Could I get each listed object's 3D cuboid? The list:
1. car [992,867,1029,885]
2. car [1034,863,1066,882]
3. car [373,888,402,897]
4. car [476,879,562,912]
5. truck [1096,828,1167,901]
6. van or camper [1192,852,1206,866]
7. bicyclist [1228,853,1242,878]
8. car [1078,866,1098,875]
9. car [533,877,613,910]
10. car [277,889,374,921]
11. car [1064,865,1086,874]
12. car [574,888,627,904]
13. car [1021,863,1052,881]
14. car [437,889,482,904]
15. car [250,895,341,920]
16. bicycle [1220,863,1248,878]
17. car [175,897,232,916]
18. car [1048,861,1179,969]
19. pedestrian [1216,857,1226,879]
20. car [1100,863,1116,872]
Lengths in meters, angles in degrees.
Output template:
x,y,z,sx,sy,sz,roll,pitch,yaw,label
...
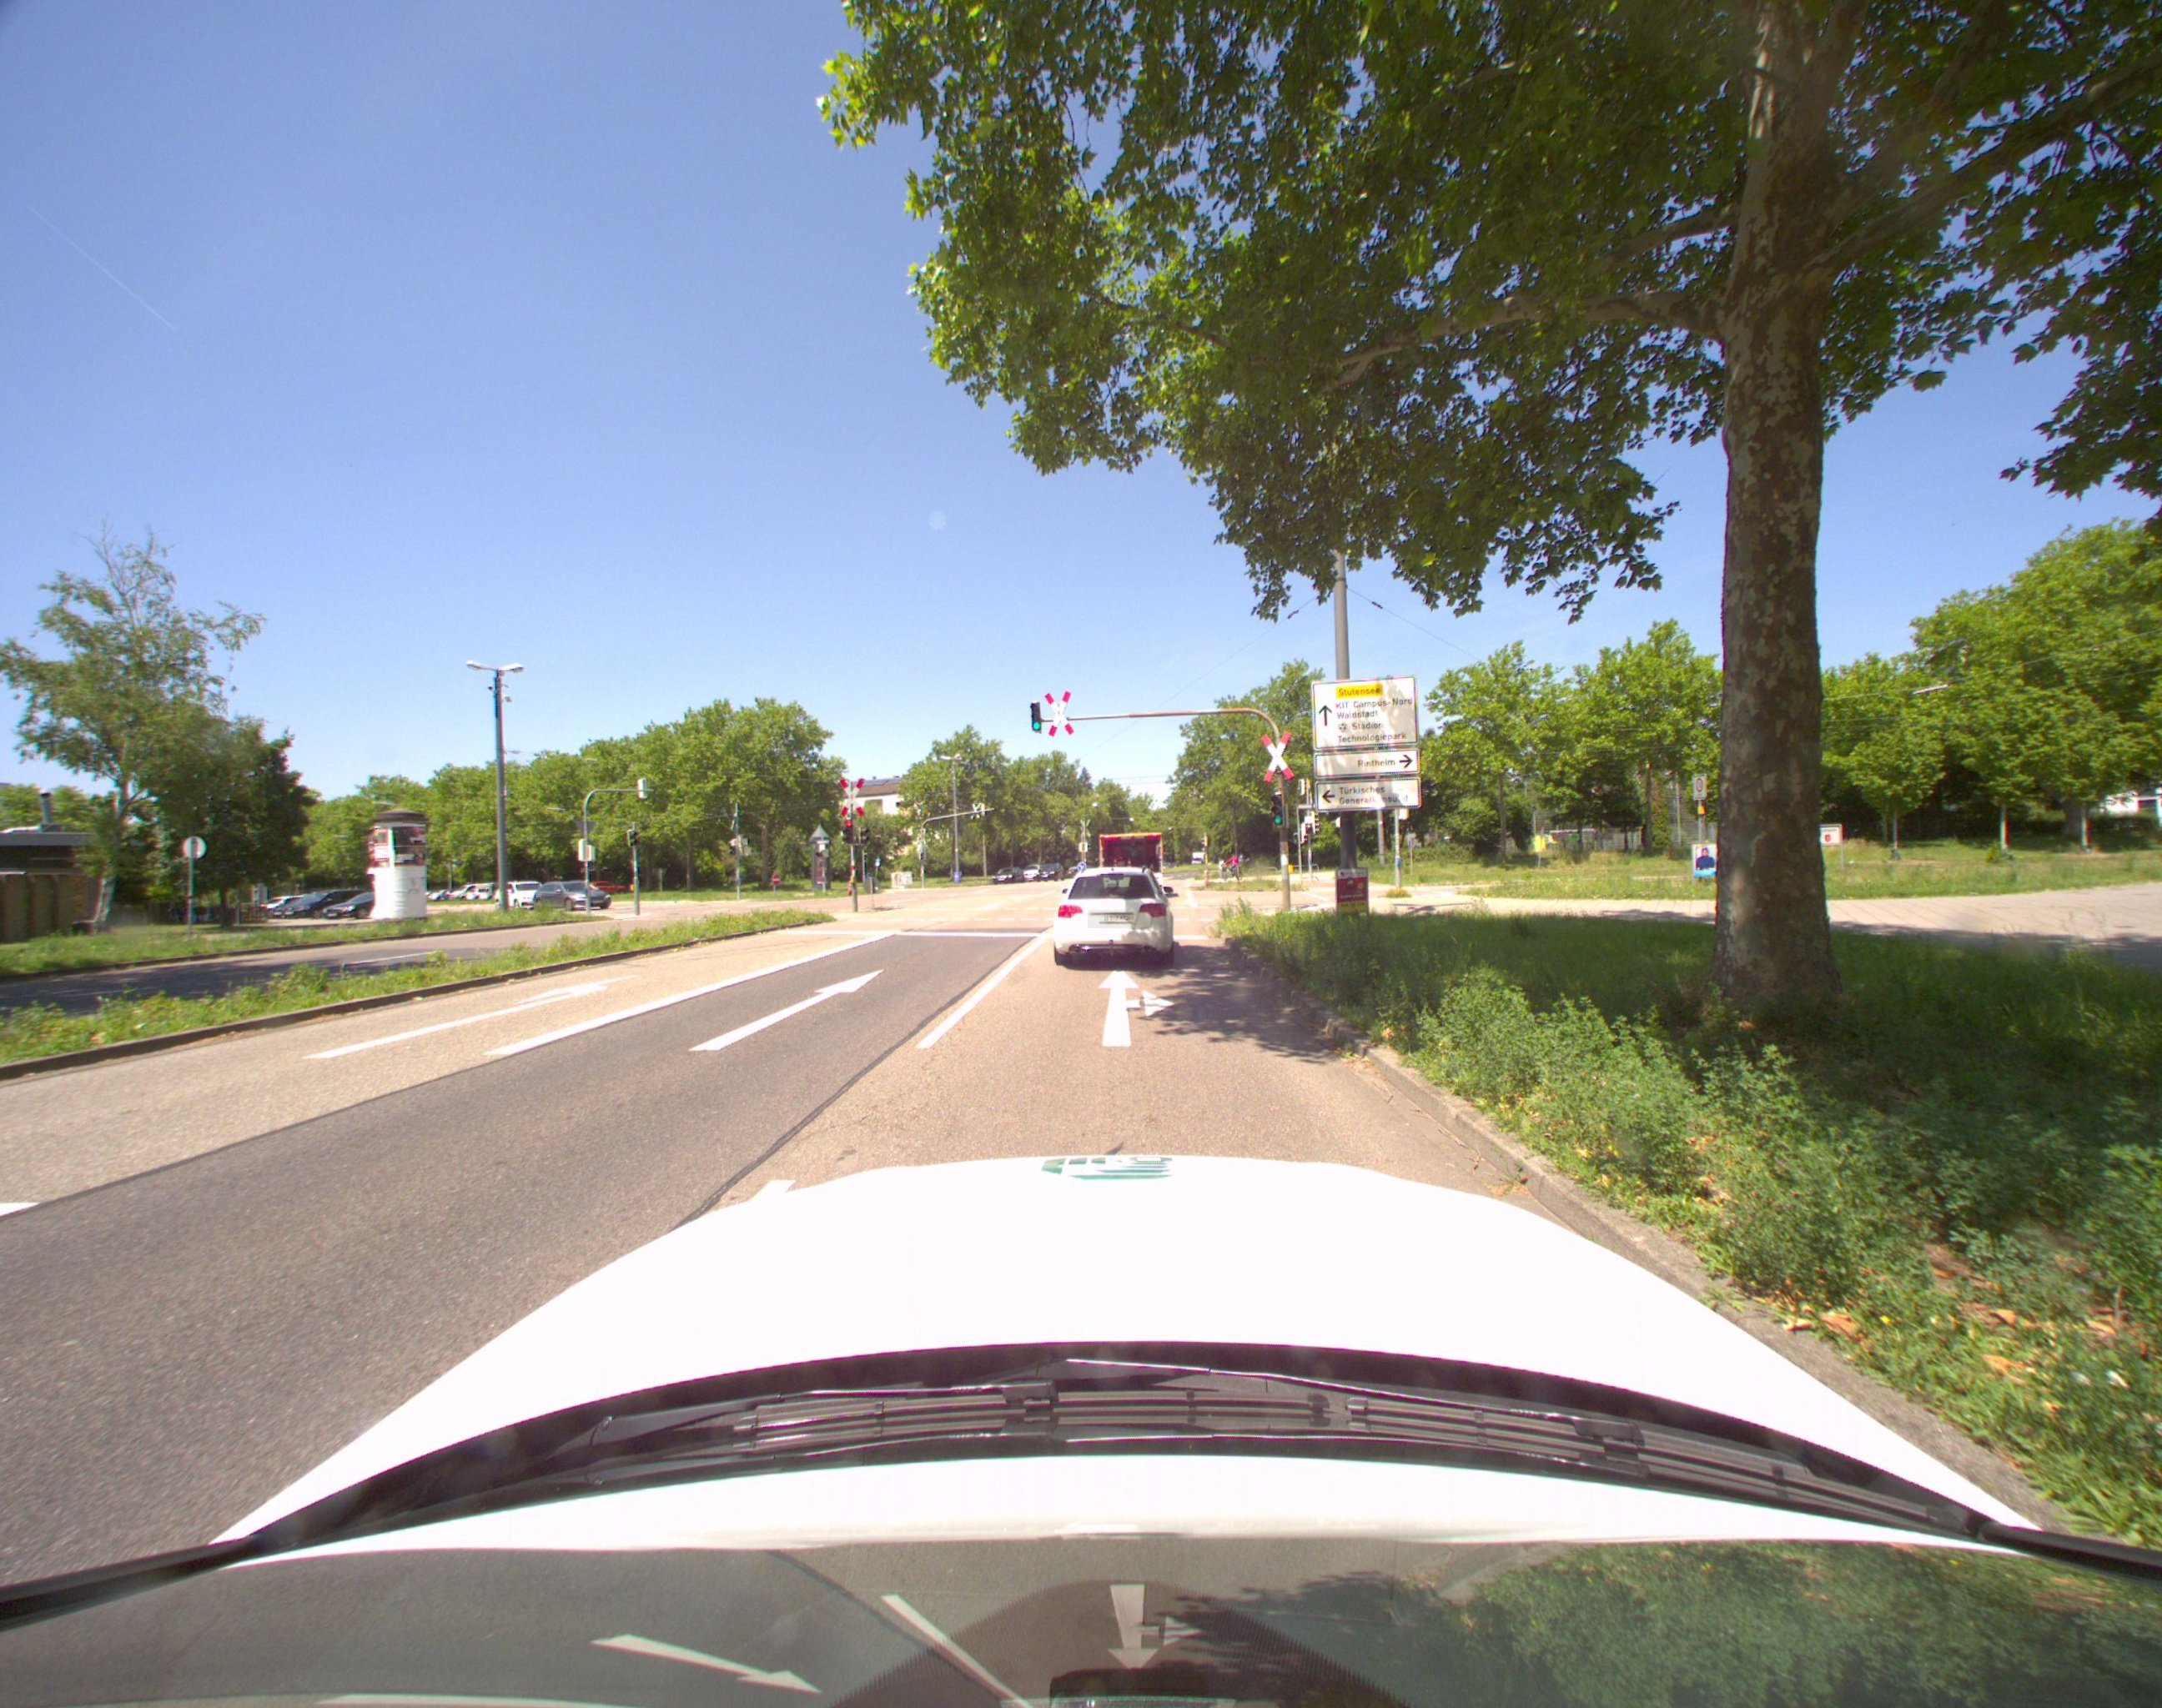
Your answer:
x,y,z,sx,sy,sz,roll,pitch,yaw,label
-6.158,1.933,71.668,1.936,1.440,4.762,-2,0,12,car
-2.725,1.593,71.897,1.897,1.539,4.310,-2,-1,10,car
-90.699,5.034,106.540,0.996,0.994,2.737,-3,-1,30,car
-30.388,2.259,44.017,4.403,1.604,2.231,-2,-1,32,car
1.990,0.424,32.783,2.501,2.560,7.608,-1,-1,3,truck
28.573,1.276,197.259,2.641,3.331,5.522,-2,-1,15,van or camper
10.014,0.749,52.973,0.676,1.556,0.573,-2,-1,-33,bicyclist
1.229,2.822,142.030,1.864,1.376,4.023,-2,-1,25,car
-24.970,1.942,40.028,3.941,1.457,1.776,-3,-1,32,car
-45.941,3.074,49.635,1.770,1.651,4.199,-2,-1,5,car
-0.998,2.568,136.775,1.864,1.393,4.024,-2,-1,27,car
-46.265,4.022,78.491,1.440,1.397,4.162,-1,-1,28,car
-4.294,1.740,78.487,1.775,1.615,4.419,-2,-1,13,car
-68.248,4.656,89.476,1.481,1.397,3.571,-3,-1,28,car
-53.136,3.604,55.205,1.930,1.423,4.069,-2,-1,7,car
9.941,1.099,52.908,1.818,0.896,0.583,-2,-1,-33,bicycle
-65.414,3.895,60.756,1.182,1.205,2.873,-2,-1,-4,car
0.595,0.856,12.919,1.754,1.445,3.620,-1,-1,5,car
9.623,0.960,55.817,0.548,1.484,0.632,-2,-1,17,pedestrian
5.035,2.533,151.485,1.865,1.474,4.020,-2,-1,21,car
